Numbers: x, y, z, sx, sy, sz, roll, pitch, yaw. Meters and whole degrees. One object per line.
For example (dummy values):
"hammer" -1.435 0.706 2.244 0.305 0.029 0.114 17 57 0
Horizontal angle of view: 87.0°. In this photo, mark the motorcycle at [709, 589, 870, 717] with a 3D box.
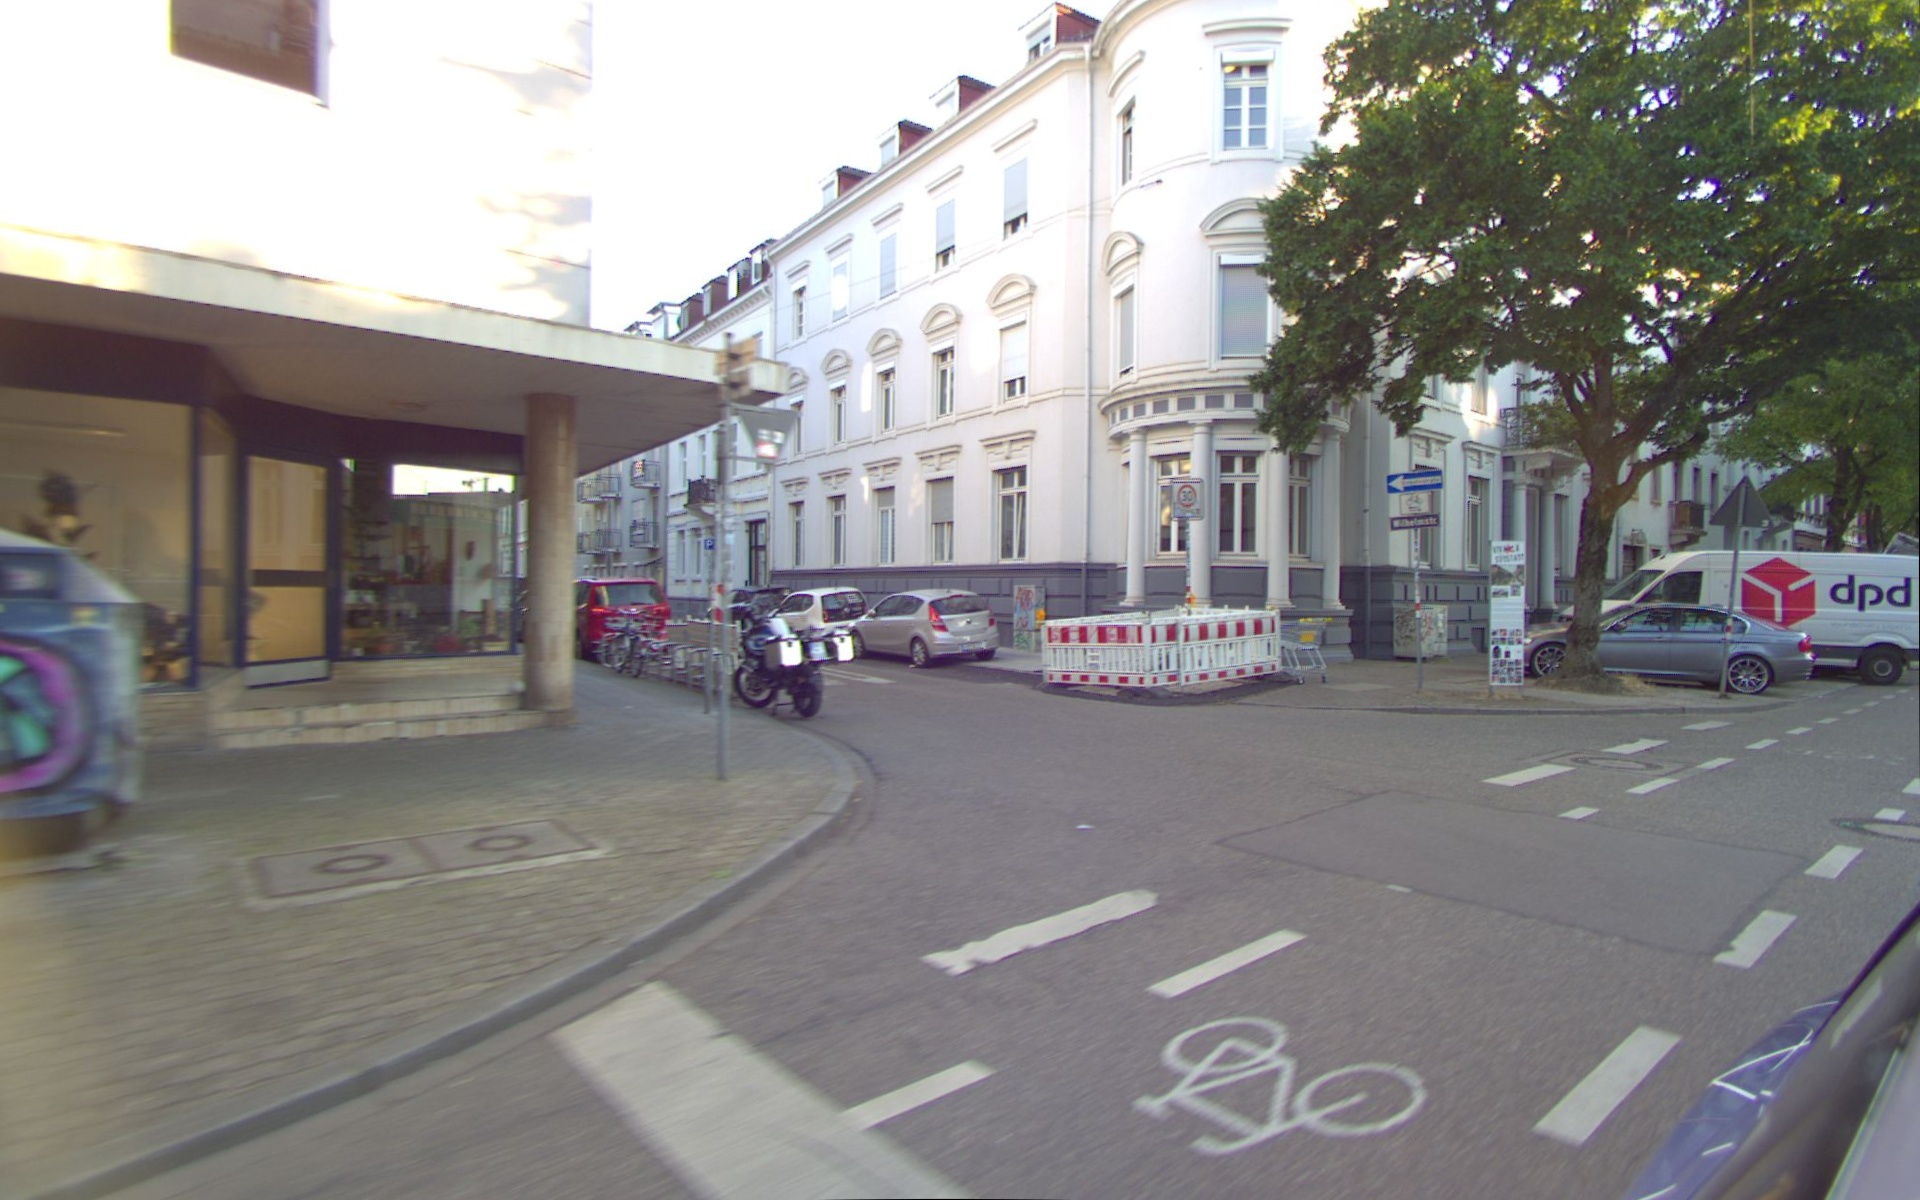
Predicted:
"motorcycle" -2.170 0.588 12.630 1.265 1.422 2.099 -1 1 -33

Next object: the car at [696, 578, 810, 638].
"car" -6.023 0.186 29.140 1.818 1.597 3.899 1 1 -34

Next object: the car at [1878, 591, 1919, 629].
"car" 42.526 0.437 43.517 4.160 1.630 1.691 1 1 21

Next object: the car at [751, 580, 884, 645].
"car" -3.694 0.270 25.706 1.818 1.511 3.899 1 1 -34

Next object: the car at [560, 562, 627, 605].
"car" -16.114 -0.733 44.368 1.818 1.786 3.899 1 1 -34

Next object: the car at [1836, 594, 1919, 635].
"car" 36.948 0.562 39.316 4.181 1.521 1.723 1 1 34

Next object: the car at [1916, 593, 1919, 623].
"car" 52.979 0.480 52.737 4.160 1.630 1.731 1 1 21

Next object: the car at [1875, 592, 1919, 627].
"car" 46.308 0.477 47.822 4.160 1.630 1.731 1 1 21

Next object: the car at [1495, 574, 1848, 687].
"car" 11.891 0.452 17.354 4.556 1.532 1.848 3 1 23

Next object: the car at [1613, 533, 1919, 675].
"car" 17.125 0.035 20.979 5.560 2.728 2.161 1 0 15

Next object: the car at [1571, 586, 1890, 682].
"car" 14.343 0.558 19.209 4.355 1.462 1.974 3 2 22

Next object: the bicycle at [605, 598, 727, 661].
"bicycle" -5.350 0.516 18.480 2.057 1.070 0.592 -1 1 -32

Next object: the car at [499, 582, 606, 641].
"car" -10.751 0.262 26.556 1.818 1.403 3.899 1 1 -34

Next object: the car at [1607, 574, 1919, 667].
"car" 18.311 0.413 23.070 5.560 1.919 2.161 1 0 15

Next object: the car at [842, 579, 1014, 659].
"car" -0.763 0.326 21.358 1.818 1.510 3.899 1 1 -34

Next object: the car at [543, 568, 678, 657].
"car" -7.536 0.199 21.553 1.817 1.689 4.365 1 1 -31

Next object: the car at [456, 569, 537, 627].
"car" -15.581 -0.102 33.943 1.818 1.828 3.899 1 1 -34

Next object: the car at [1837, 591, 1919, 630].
"car" 38.554 0.413 41.108 4.181 1.521 1.723 1 1 34

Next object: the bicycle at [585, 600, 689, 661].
"bicycle" -6.101 0.551 19.194 1.841 1.070 0.525 -1 1 -45
